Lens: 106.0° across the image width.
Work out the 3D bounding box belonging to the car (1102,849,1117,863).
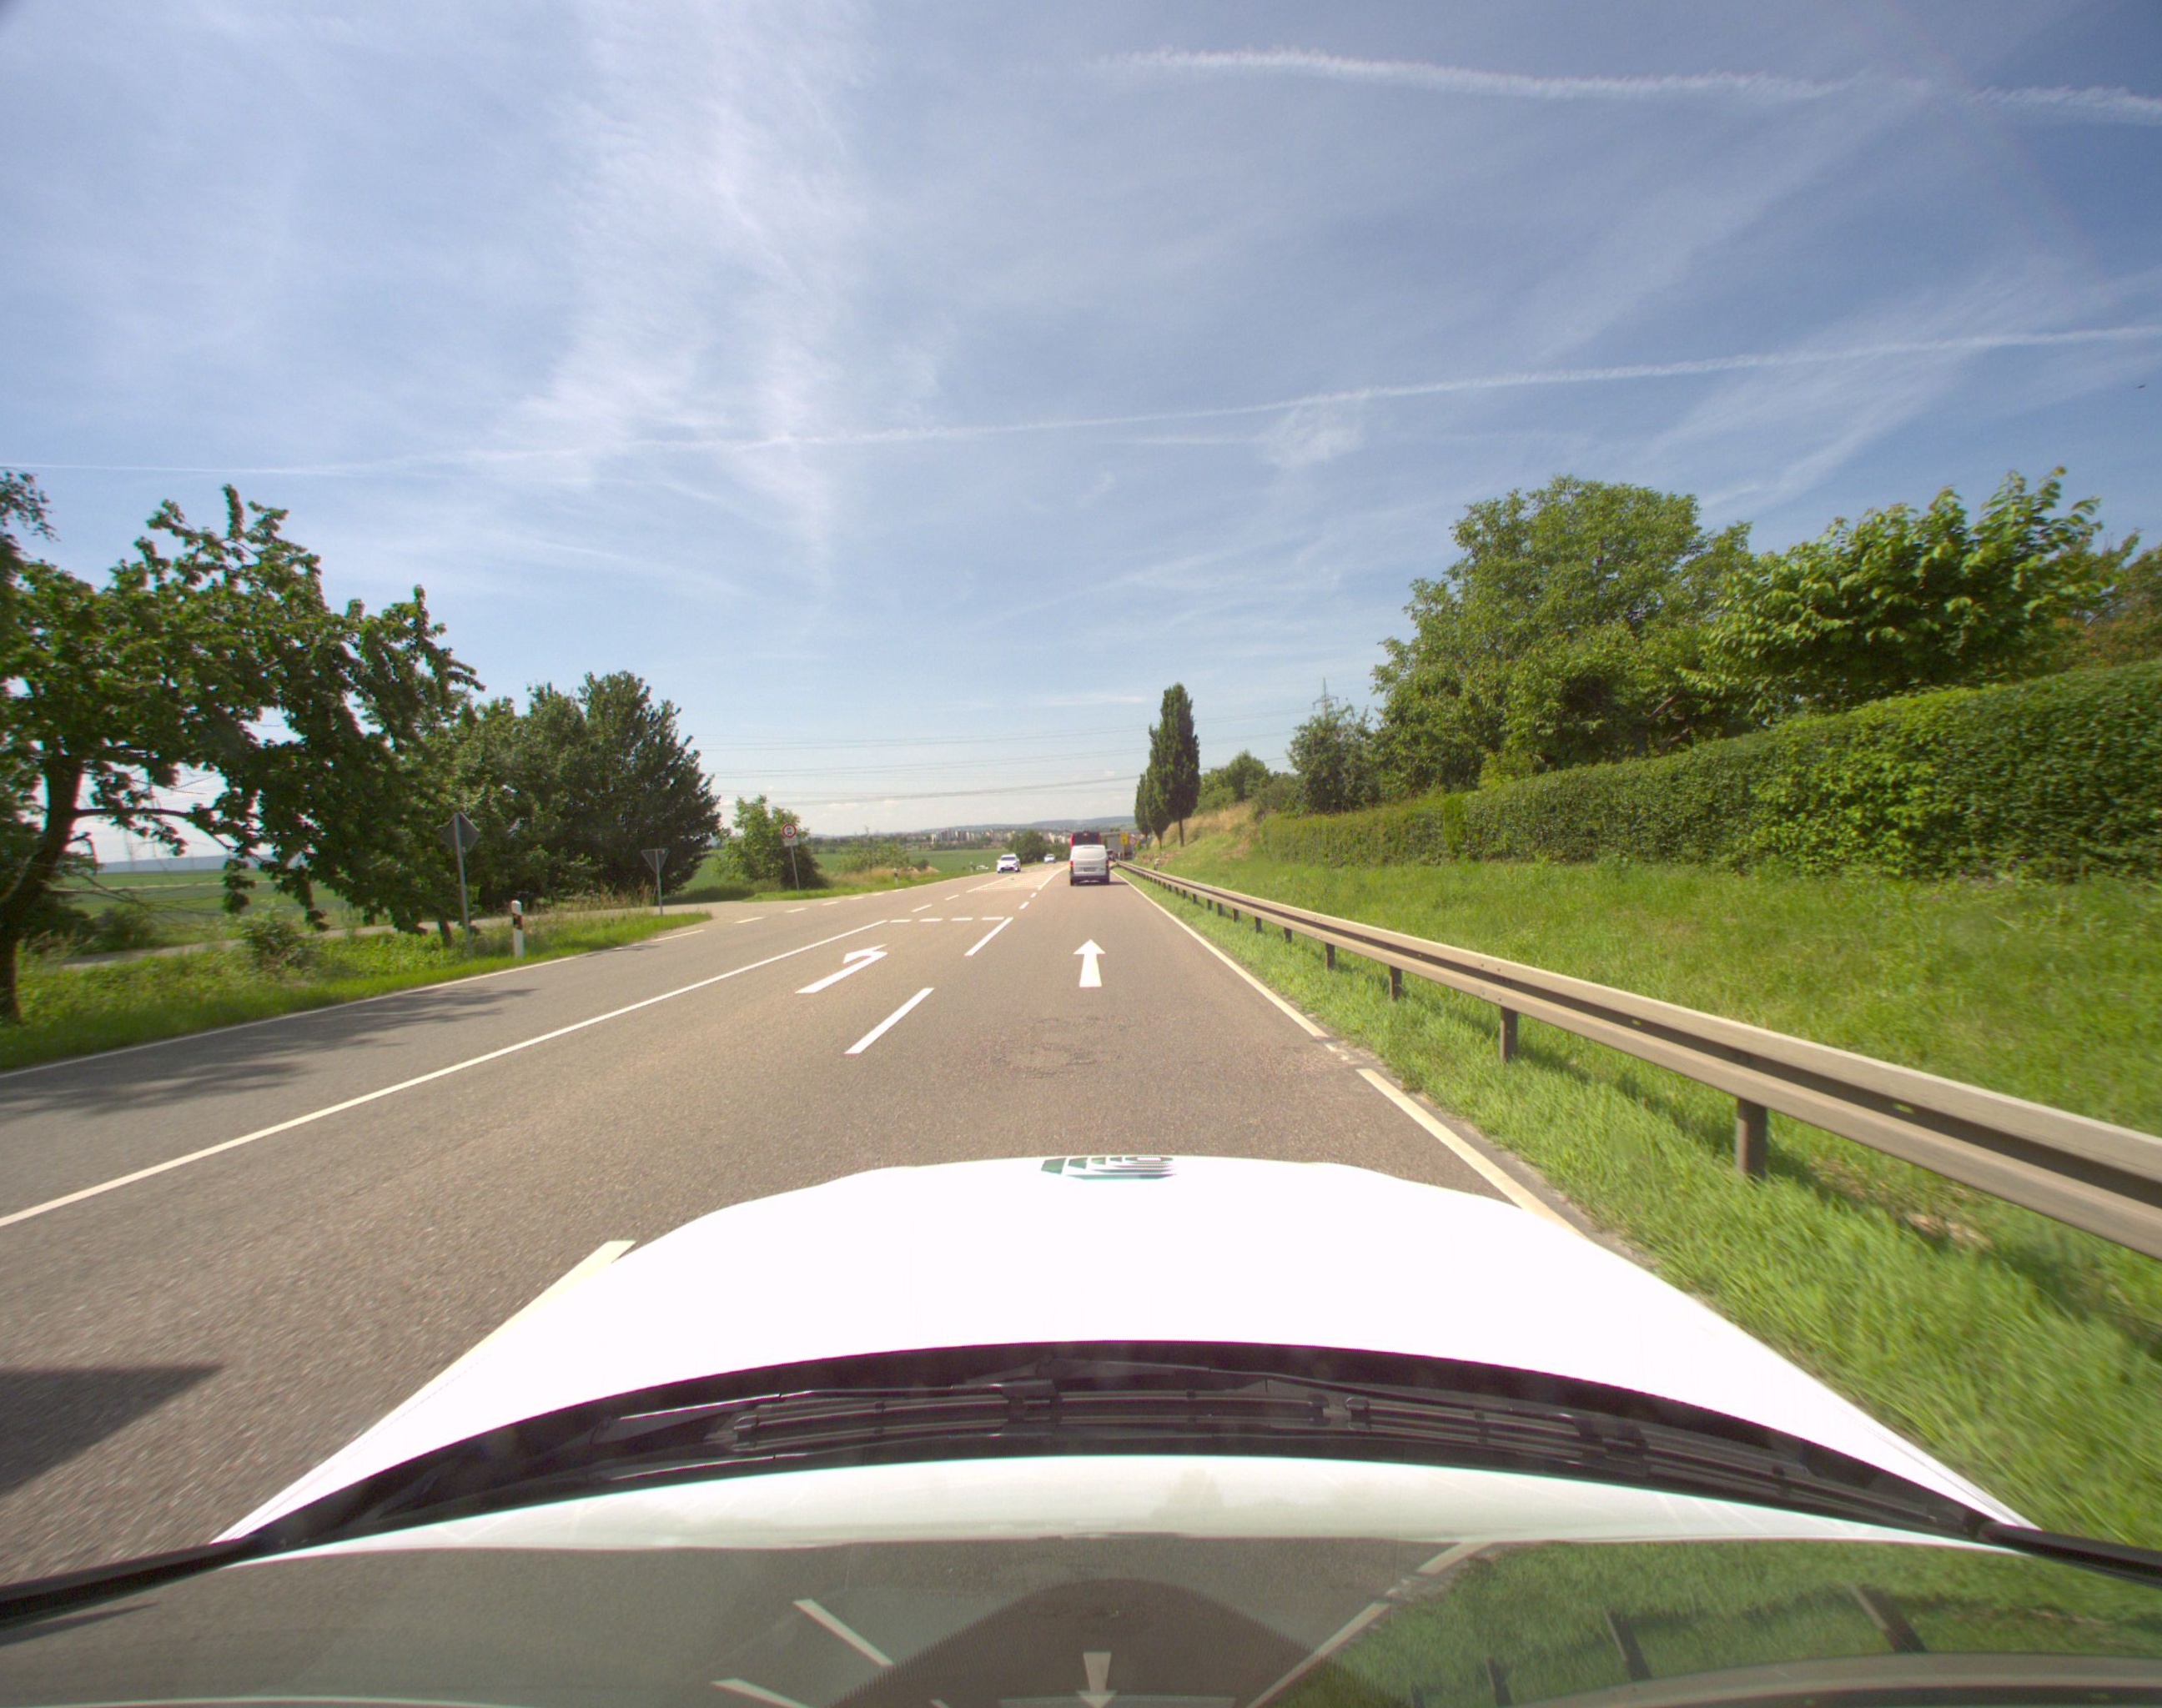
[{"bbox_3d":[4.086,0.221,115.770,1.876,1.816,3.770,-3,0,5],"label":"car"}]

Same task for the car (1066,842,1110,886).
[{"bbox_3d":[0.400,0.432,39.427,1.916,1.889,4.002,-4,1,2],"label":"car"}]

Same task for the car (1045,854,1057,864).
[{"bbox_3d":[-5.295,0.847,142.679,1.759,1.687,3.828,-3,0,2],"label":"car"}]

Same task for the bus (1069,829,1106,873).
[{"bbox_3d":[0.601,-0.469,73.760,2.738,3.352,13.224,-5,2,1],"label":"bus"}]

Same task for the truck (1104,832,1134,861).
[{"bbox_3d":[6.536,-1.302,136.462,3.468,4.423,14.938,-2,0,8],"label":"truck"}]

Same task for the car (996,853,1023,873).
[{"bbox_3d":[-6.351,0.796,72.622,1.847,1.565,4.075,-3,0,1],"label":"car"}]
